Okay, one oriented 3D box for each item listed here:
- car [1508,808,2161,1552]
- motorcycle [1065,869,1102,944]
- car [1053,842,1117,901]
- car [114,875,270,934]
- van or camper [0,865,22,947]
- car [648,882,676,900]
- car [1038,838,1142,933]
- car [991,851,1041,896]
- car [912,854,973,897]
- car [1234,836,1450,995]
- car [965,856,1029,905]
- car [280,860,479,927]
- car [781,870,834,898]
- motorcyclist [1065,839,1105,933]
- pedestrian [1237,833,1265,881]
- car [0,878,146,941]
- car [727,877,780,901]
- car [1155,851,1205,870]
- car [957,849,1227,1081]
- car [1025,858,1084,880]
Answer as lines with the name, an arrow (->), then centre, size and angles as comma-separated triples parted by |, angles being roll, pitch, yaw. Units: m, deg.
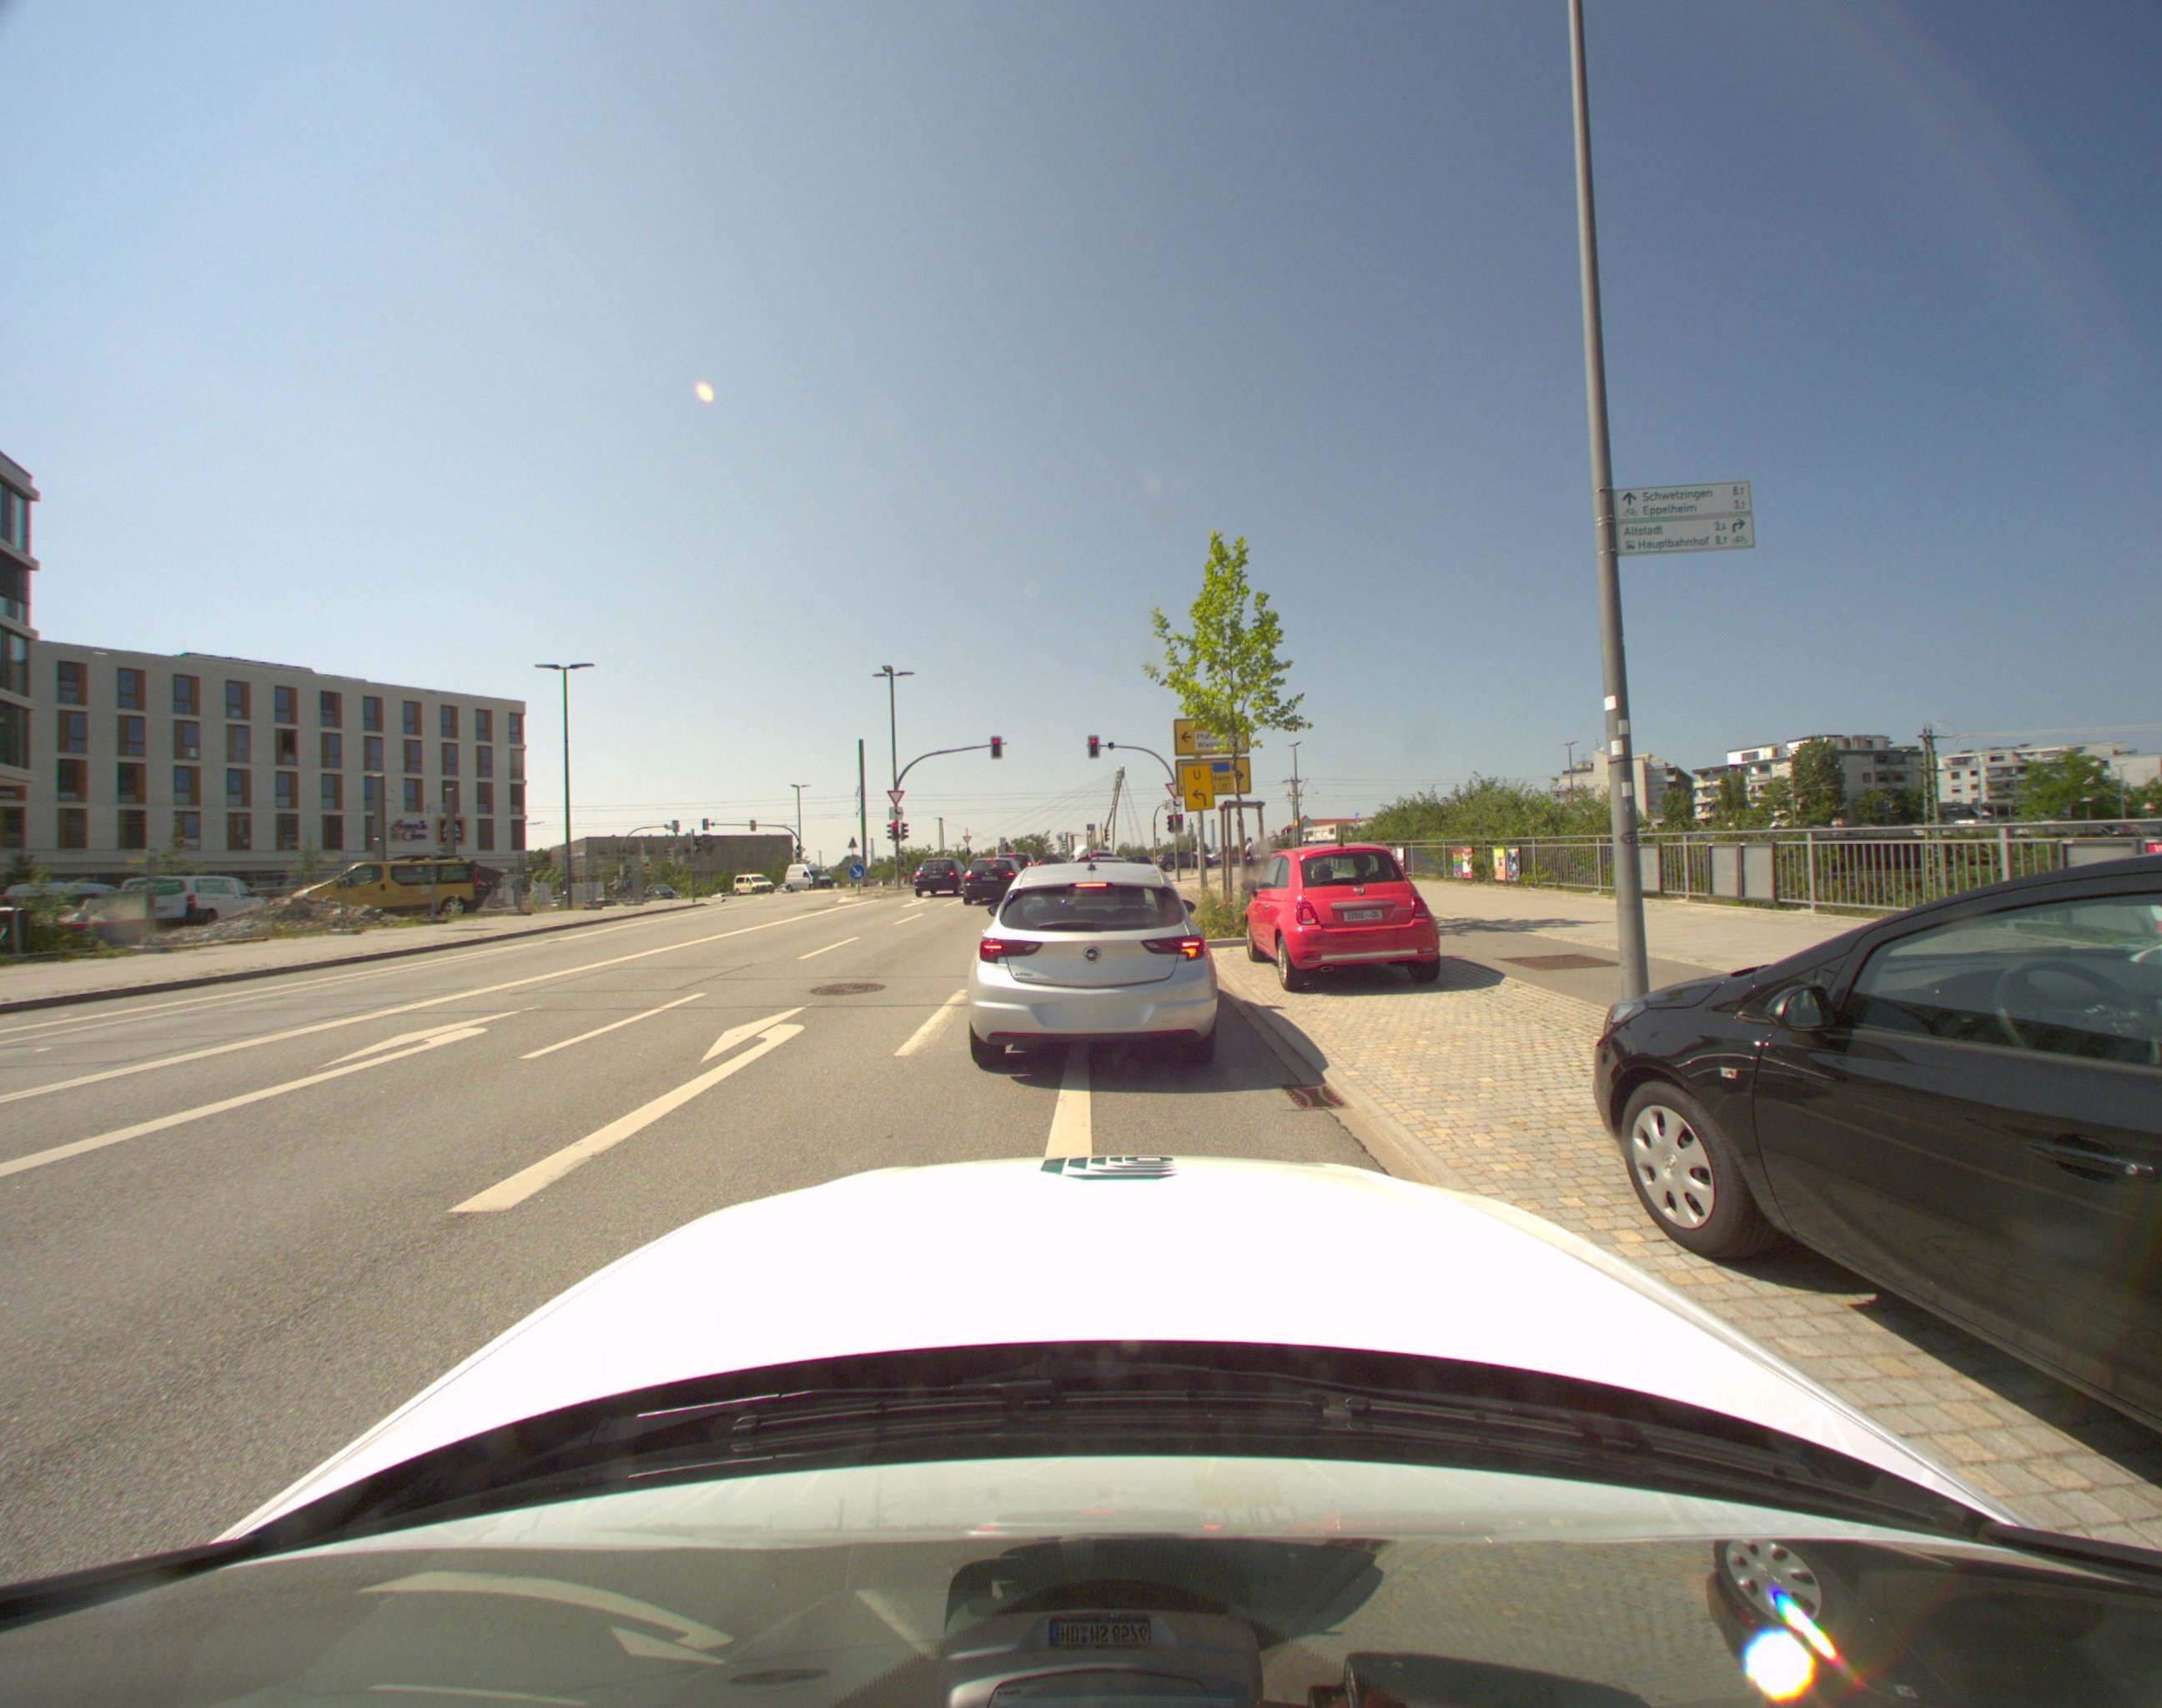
car -> 2.889, 0.594, 1.966 | 1.654, 1.426, 4.001 | -3, -1, 2
motorcycle -> 0.067, 0.756, 12.509 | 0.499, 1.014, 2.174 | 0, -1, 2
car -> 0.186, 0.450, 24.061 | 1.717, 1.563, 4.002 | 0, 1, 2
car -> -31.042, 1.689, 28.657 | 1.873, 1.774, 4.619 | 0, -1, -22
van or camper -> -36.509, 1.717, 25.362 | 2.318, 2.735, 4.944 | 0, -1, -26
car -> -38.503, 3.403, 74.850 | 1.686, 1.476, 3.368 | -2, 0, -37
car -> 0.244, 0.589, 17.868 | 1.986, 1.820, 4.404 | 0, 0, 2
car -> -2.474, 0.728, 31.777 | 1.644, 1.615, 3.819 | 0, -1, 0
car -> -5.240, 0.796, 31.288 | 1.591, 1.547, 3.764 | 0, -1, 2
car -> 2.914, 0.610, 9.795 | 1.603, 1.496, 3.355 | -4, 0, 3
car -> -2.597, 0.793, 25.887 | 1.569, 1.434, 3.786 | 0, -1, 1
car -> -22.681, 1.192, 26.492 | 1.964, 1.962, 4.655 | -1, -1, 40
car -> -23.953, 2.603, 71.273 | 4.951, 2.376, 1.795 | -2, -1, 36
motorcyclist -> 0.071, 0.478, 12.436 | 0.579, 1.389, 0.707 | 0, -1, 1
pedestrian -> 6.628, 0.105, 31.763 | 0.800, 1.836, 0.643 | -2, -1, -28
car -> -33.662, 1.771, 27.208 | 1.794, 1.857, 3.818 | 0, -1, -26
car -> -28.516, 3.029, 70.919 | 4.656, 2.014, 2.013 | -1, -1, 33
car -> 7.727, 0.537, 63.655 | 3.705, 1.384, 1.585 | -1, -1, -1
car -> 0.053, 0.726, 7.262 | 1.738, 1.478, 3.998 | 0, -1, -1
car -> -2.012, 1.161, 62.903 | 4.251, 1.631, 1.759 | -1, -1, 7
